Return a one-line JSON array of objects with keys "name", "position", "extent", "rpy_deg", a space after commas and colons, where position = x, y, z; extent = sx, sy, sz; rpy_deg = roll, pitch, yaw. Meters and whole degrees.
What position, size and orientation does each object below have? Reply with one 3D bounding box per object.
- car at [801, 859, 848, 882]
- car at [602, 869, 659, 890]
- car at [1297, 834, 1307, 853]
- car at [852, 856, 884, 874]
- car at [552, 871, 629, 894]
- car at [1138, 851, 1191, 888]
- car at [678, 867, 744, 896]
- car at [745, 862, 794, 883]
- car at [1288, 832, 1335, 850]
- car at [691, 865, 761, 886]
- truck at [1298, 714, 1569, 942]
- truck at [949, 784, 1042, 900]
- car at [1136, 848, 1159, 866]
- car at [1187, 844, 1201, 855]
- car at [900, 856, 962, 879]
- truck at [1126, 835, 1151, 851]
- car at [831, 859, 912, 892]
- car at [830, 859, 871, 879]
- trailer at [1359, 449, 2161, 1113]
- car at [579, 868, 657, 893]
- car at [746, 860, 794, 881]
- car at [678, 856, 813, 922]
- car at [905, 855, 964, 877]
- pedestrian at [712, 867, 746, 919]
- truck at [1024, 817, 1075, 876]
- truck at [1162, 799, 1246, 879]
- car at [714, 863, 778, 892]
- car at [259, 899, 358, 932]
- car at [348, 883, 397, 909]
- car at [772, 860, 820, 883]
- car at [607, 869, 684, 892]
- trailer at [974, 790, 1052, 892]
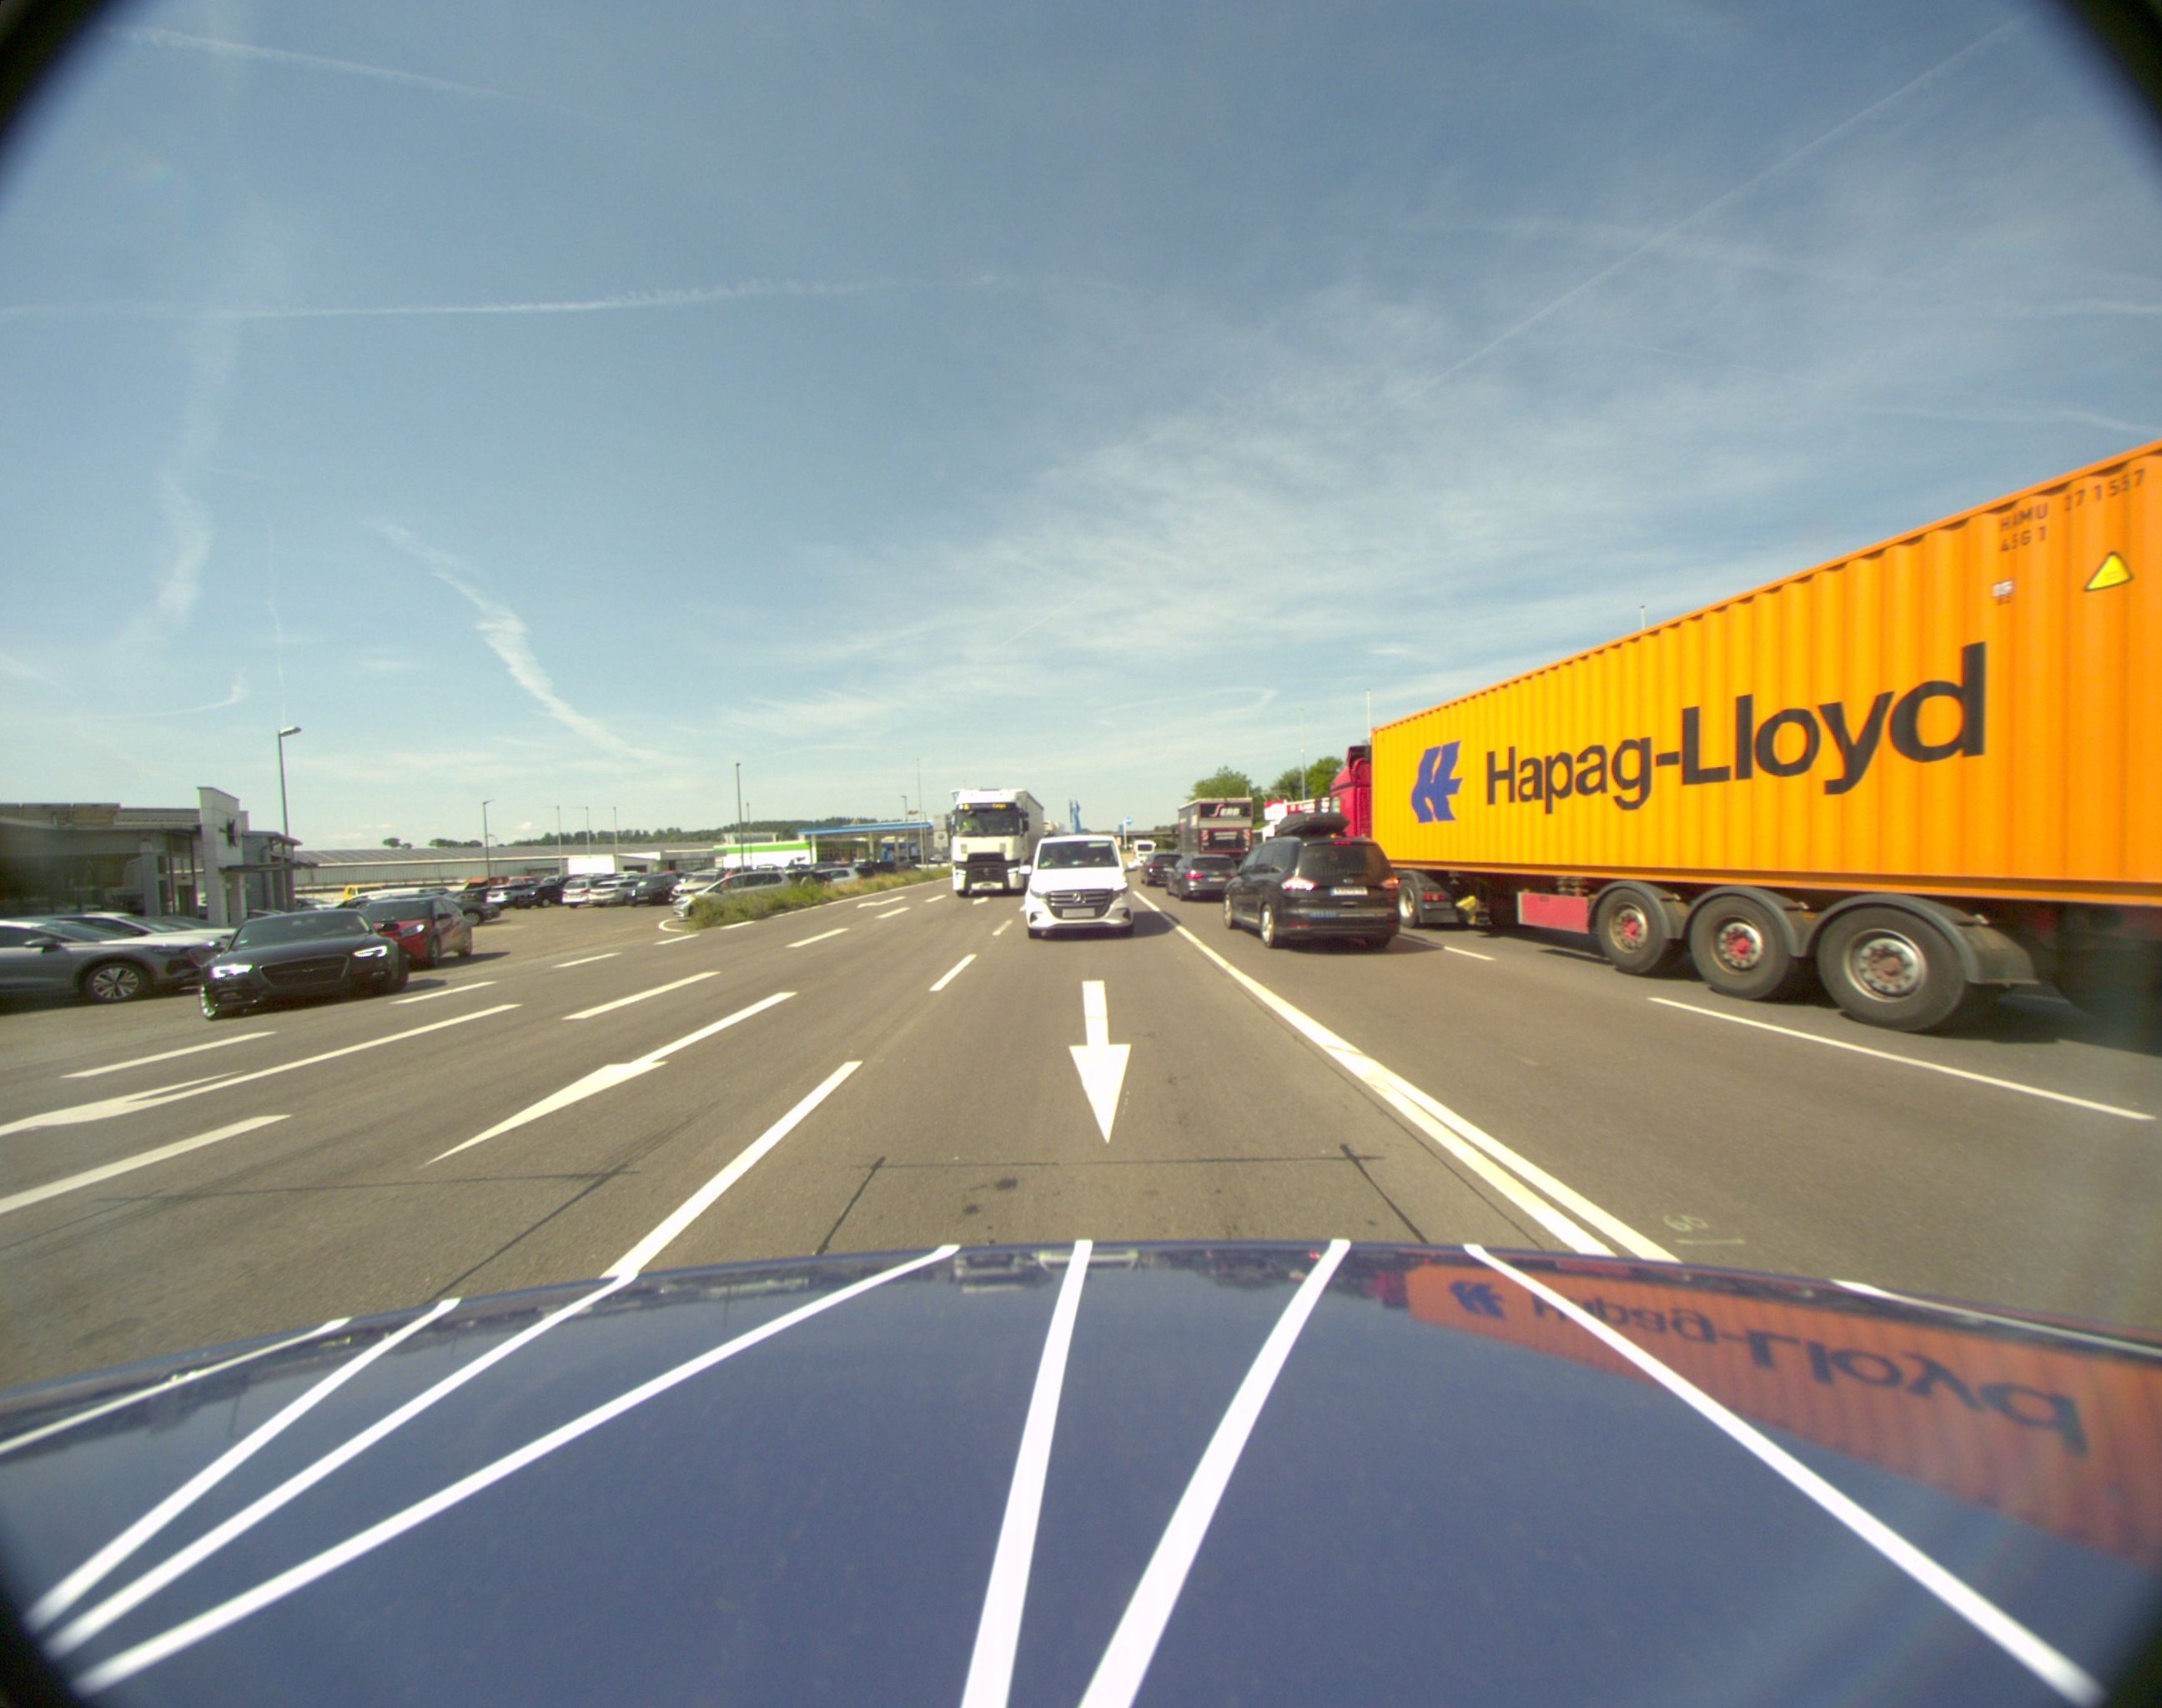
[{"name": "car", "position": [-20.672, 1.310, 61.388], "extent": [1.774, 1.645, 4.539], "rpy_deg": [-2, 1, 6]}, {"name": "car", "position": [-39.754, 2.248, 67.056], "extent": [4.527, 1.718, 2.072], "rpy_deg": [-2, 1, 24]}, {"name": "car", "position": [22.260, -1.082, 76.500], "extent": [0.881, 1.825, 0.846], "rpy_deg": [-2, 1, 13]}, {"name": "car", "position": [-21.985, 1.131, 78.615], "extent": [1.712, 1.703, 4.261], "rpy_deg": [-2, 1, 6]}, {"name": "car", "position": [-36.782, 2.143, 57.106], "extent": [1.819, 1.466, 4.544], "rpy_deg": [-1, 1, 22]}, {"name": "car", "position": [3.467, 0.596, 32.250], "extent": [1.716, 1.435, 4.377], "rpy_deg": [0, 1, -1]}, {"name": "car", "position": [-23.831, 1.749, 49.155], "extent": [1.774, 1.645, 4.434], "rpy_deg": [-2, 1, 4]}, {"name": "car", "position": [-25.614, 1.519, 62.611], "extent": [1.689, 1.517, 4.539], "rpy_deg": [-2, 1, 6]}, {"name": "car", "position": [24.469, -1.382, 80.685], "extent": [4.539, 1.644, 1.873], "rpy_deg": [-3, 1, -18]}, {"name": "car", "position": [-27.385, 1.669, 58.622], "extent": [4.530, 1.450, 1.951], "rpy_deg": [-2, 1, 12]}, {"name": "truck", "position": [7.162, -0.489, 16.545], "extent": [2.728, 3.975, 6.054], "rpy_deg": [-2, 1, -3]}, {"name": "truck", "position": [-3.145, -0.454, 29.499], "extent": [2.647, 3.964, 6.041], "rpy_deg": [-2, 1, 2]}, {"name": "car", "position": [5.743, 0.248, 65.930], "extent": [1.657, 1.547, 4.000], "rpy_deg": [0, 1, 1]}, {"name": "car", "position": [15.179, -0.618, 102.474], "extent": [1.827, 1.517, 4.461], "rpy_deg": [0, 1, 7]}, {"name": "car", "position": [-12.002, 1.037, 60.918], "extent": [4.543, 1.645, 1.772], "rpy_deg": [-2, 1, -26]}, {"name": "truck", "position": [10.775, -2.024, 141.953], "extent": [2.437, 2.820, 6.051], "rpy_deg": [-1, 1, 25]}, {"name": "car", "position": [-11.763, 1.173, 42.797], "extent": [4.006, 1.645, 1.772], "rpy_deg": [-2, 1, -32]}, {"name": "car", "position": [-20.296, 1.263, 67.095], "extent": [1.774, 1.571, 4.539], "rpy_deg": [-2, 1, 6]}, {"name": "trailer", "position": [7.544, -0.506, 9.766], "extent": [2.728, 3.975, 12.229], "rpy_deg": [-2, 1, -3]}, {"name": "car", "position": [-33.425, 1.894, 54.984], "extent": [1.819, 1.574, 4.544], "rpy_deg": [-1, 1, 22]}, {"name": "car", "position": [-27.862, 1.469, 68.178], "extent": [1.773, 1.645, 4.541], "rpy_deg": [-2, 1, 9]}, {"name": "car", "position": [-12.260, 1.204, 27.826], "extent": [4.355, 2.200, 1.759], "rpy_deg": [-1, 1, -29]}, {"name": "car", "position": [-12.257, 1.016, 63.731], "extent": [4.543, 1.645, 1.772], "rpy_deg": [-2, 1, -25]}, {"name": "pedestrian", "position": [-13.333, 1.459, 28.789], "extent": [0.990, 1.901, 0.742], "rpy_deg": [-3, 1, -34]}, {"name": "truck", "position": [-2.216, -0.570, 56.796], "extent": [2.646, 3.964, 9.241], "rpy_deg": [-2, 1, 4]}, {"name": "truck", "position": [6.770, -0.830, 43.505], "extent": [2.718, 3.975, 9.972], "rpy_deg": [-2, 1, -2]}, {"name": "car", "position": [-21.434, 1.465, 48.848], "extent": [1.774, 1.645, 4.539], "rpy_deg": [-2, 1, 4]}, {"name": "car", "position": [-48.261, 3.804, 47.535], "extent": [3.913, 1.720, 1.982], "rpy_deg": [-2, 1, -7]}, {"name": "car", "position": [-58.264, 3.385, 62.467], "extent": [4.148, 1.920, 2.215], "rpy_deg": [-1, 1, 37]}, {"name": "car", "position": [-23.182, 1.384, 62.036], "extent": [1.774, 1.645, 4.539], "rpy_deg": [-2, 1, 6]}, {"name": "car", "position": [-31.002, 1.863, 54.246], "extent": [1.819, 1.423, 4.491], "rpy_deg": [-1, 1, 22]}, {"name": "trailer", "position": [-3.066, -0.600, 37.520], "extent": [2.613, 4.203, 11.291], "rpy_deg": [-2, 1, 1]}]
